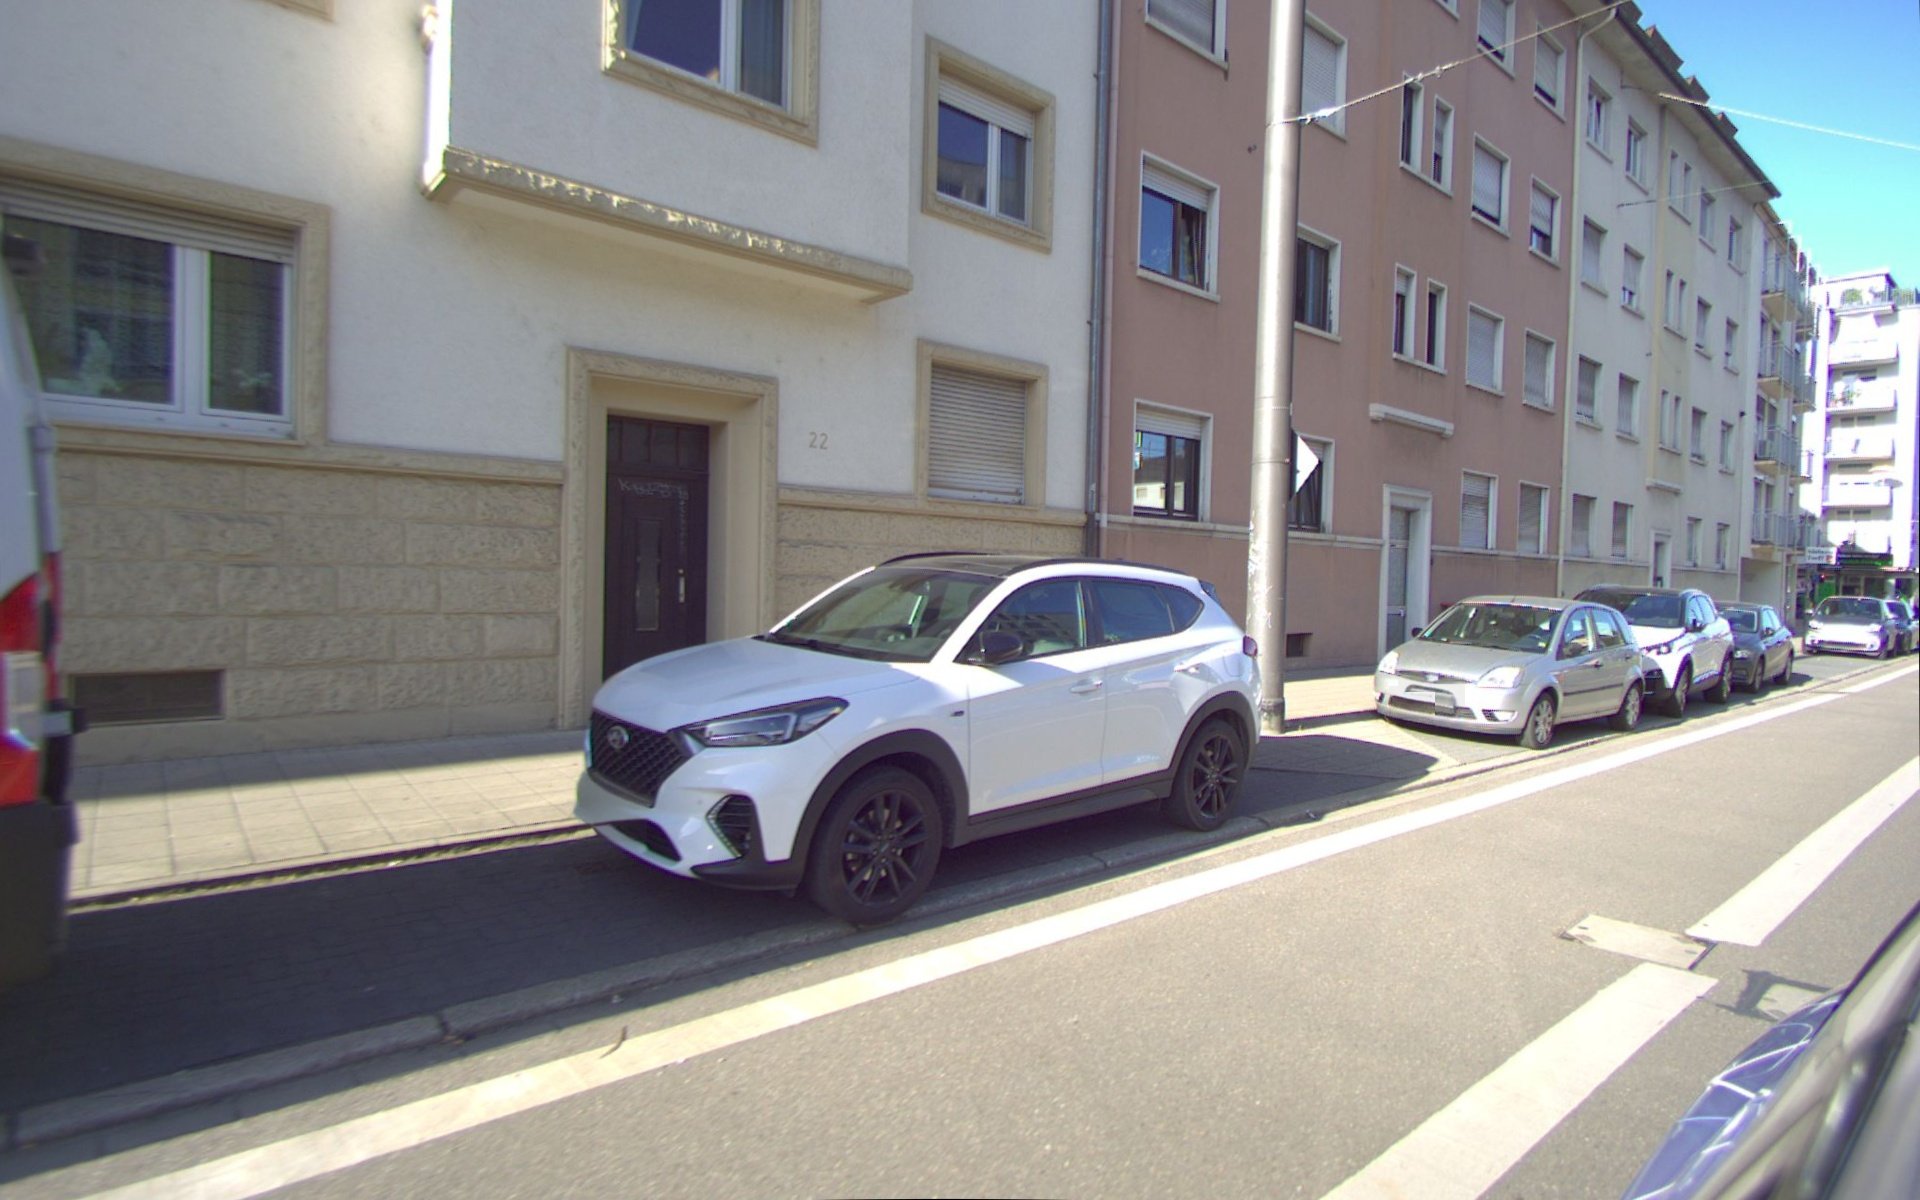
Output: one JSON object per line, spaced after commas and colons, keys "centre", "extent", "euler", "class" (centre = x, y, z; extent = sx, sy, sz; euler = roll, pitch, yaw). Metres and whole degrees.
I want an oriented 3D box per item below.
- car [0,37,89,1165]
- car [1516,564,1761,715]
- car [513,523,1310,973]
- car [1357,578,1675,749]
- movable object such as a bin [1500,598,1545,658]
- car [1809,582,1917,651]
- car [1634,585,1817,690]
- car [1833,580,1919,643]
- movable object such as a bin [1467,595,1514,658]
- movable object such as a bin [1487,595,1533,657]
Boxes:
{"centre": [-5.256, -0.050, 1.326], "extent": [6.181, 2.728, 2.156], "euler": [0, 4, -41], "class": "car"}
{"centre": [9.820, 0.476, 14.507], "extent": [4.414, 1.717, 1.805], "euler": [1, 5, -43], "class": "car"}
{"centre": [0.034, 0.503, 5.944], "extent": [4.497, 1.657, 1.851], "euler": [0, 3, -43], "class": "car"}
{"centre": [6.273, 0.595, 11.252], "extent": [3.981, 1.478, 1.627], "euler": [1, 4, -39], "class": "car"}
{"centre": [10.936, 0.533, 19.668], "extent": [0.553, 1.149, 0.604], "euler": [1, -1, -40], "class": "movable object such as a bin"}
{"centre": [23.309, 0.391, 26.107], "extent": [2.604, 1.571, 1.761], "euler": [0, 3, -42], "class": "car"}
{"centre": [13.524, 0.580, 17.801], "extent": [4.083, 1.496, 1.749], "euler": [0, 5, -43], "class": "car"}
{"centre": [26.278, 0.299, 28.640], "extent": [4.104, 1.570, 1.821], "euler": [0, 4, -43], "class": "car"}
{"centre": [9.821, 0.483, 18.730], "extent": [0.553, 1.149, 0.604], "euler": [1, -1, -40], "class": "movable object such as a bin"}
{"centre": [10.462, 0.484, 19.249], "extent": [0.553, 1.149, 0.604], "euler": [1, -1, -40], "class": "movable object such as a bin"}
